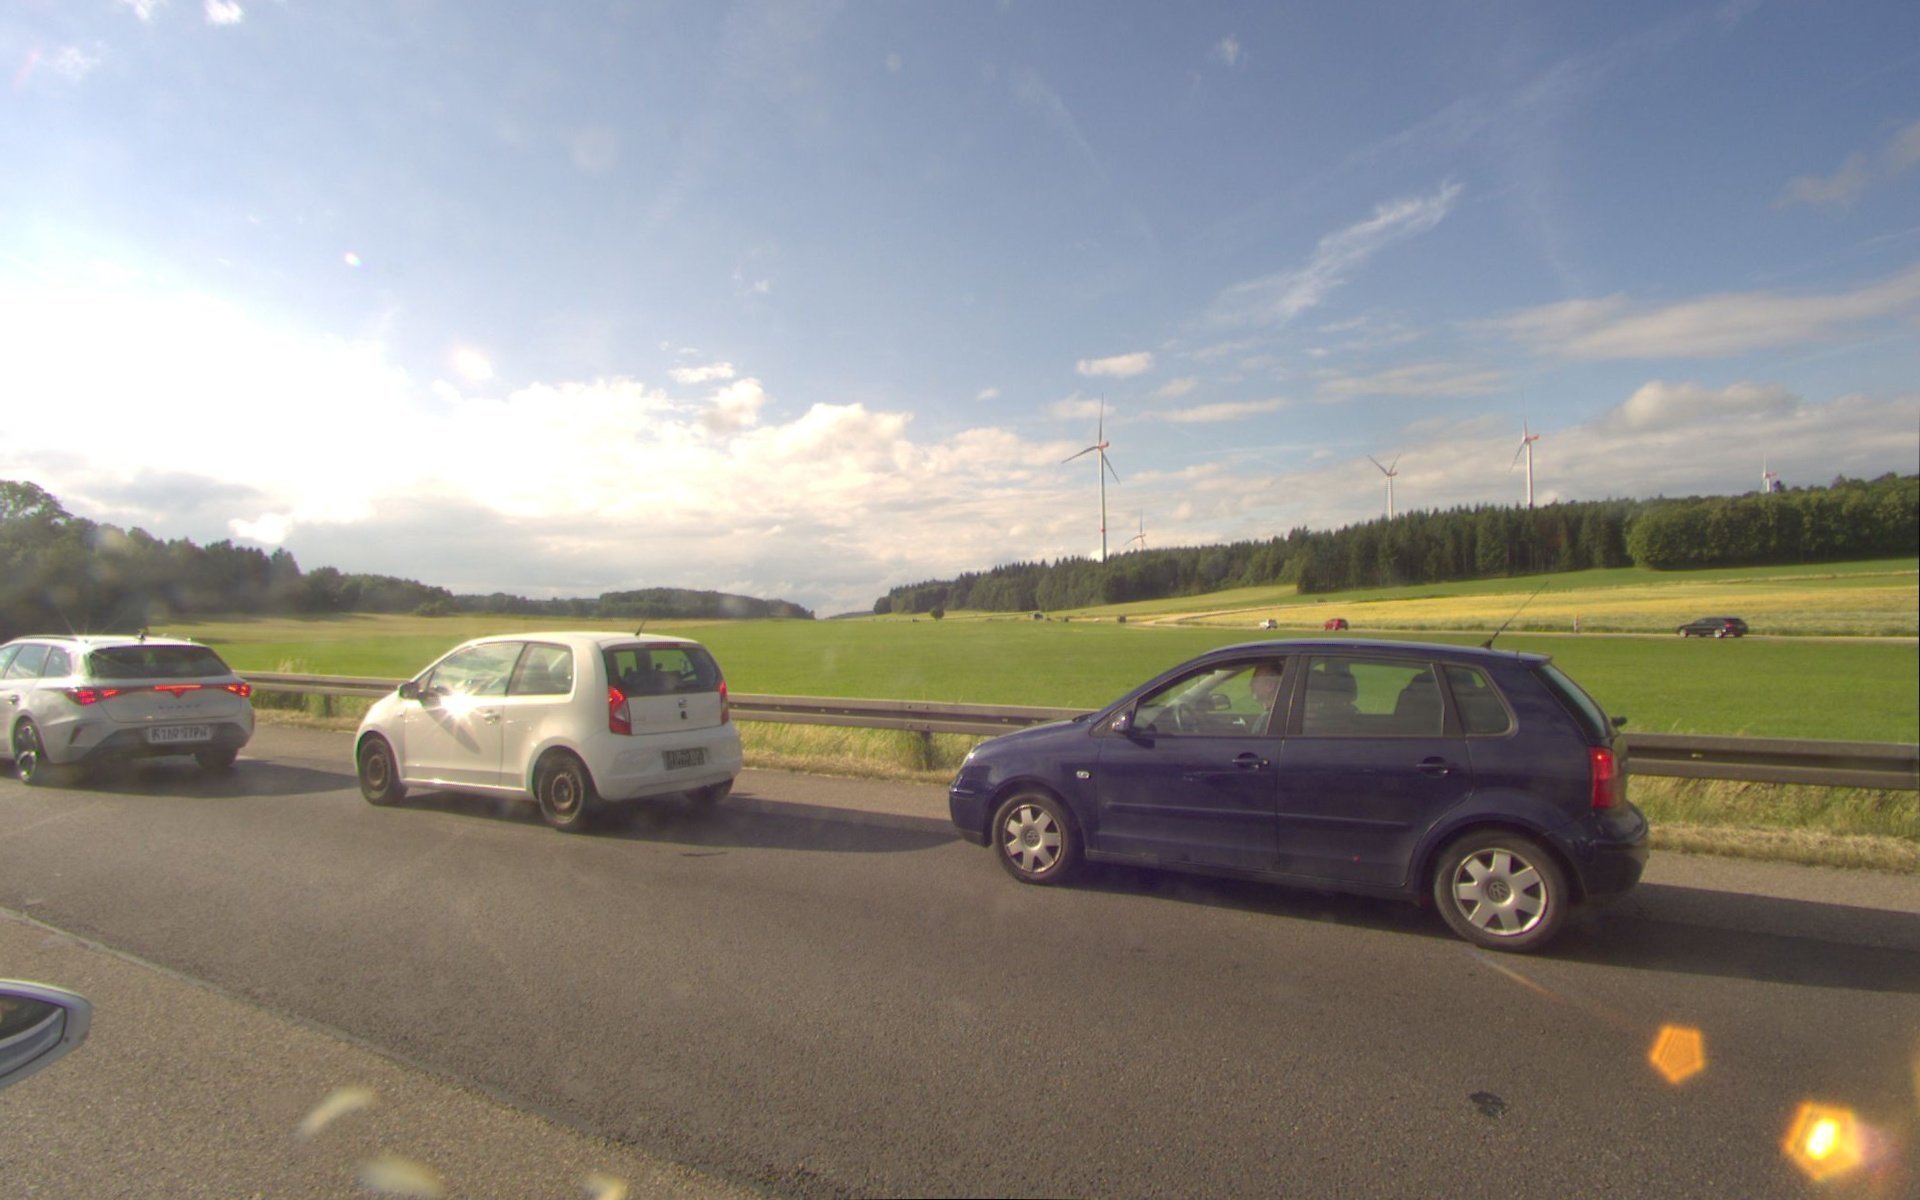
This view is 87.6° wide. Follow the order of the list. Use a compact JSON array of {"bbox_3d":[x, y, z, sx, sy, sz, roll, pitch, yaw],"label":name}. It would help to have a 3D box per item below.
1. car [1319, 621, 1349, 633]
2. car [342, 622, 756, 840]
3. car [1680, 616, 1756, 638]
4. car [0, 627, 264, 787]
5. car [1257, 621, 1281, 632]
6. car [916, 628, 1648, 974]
[{"bbox_3d":[46.767,3.353,125.192,1.803,1.505,4.221,0,-2,-6],"label":"car"},{"bbox_3d":[-3.542,0.964,8.558,3.326,1.514,1.547,0,-1,29],"label":"car"},{"bbox_3d":[53.269,1.936,70.473,1.803,1.505,4.221,0,-2,-6],"label":"car"},{"bbox_3d":[-9.541,1.044,10.907,4.084,1.464,1.619,-1,-2,29],"label":"car"},{"bbox_3d":[45.400,3.922,147.158,1.803,1.505,4.288,0,-2,-6],"label":"car"},{"bbox_3d":[1.751,0.917,5.951,3.719,1.464,1.708,-1,-2,31],"label":"car"}]
